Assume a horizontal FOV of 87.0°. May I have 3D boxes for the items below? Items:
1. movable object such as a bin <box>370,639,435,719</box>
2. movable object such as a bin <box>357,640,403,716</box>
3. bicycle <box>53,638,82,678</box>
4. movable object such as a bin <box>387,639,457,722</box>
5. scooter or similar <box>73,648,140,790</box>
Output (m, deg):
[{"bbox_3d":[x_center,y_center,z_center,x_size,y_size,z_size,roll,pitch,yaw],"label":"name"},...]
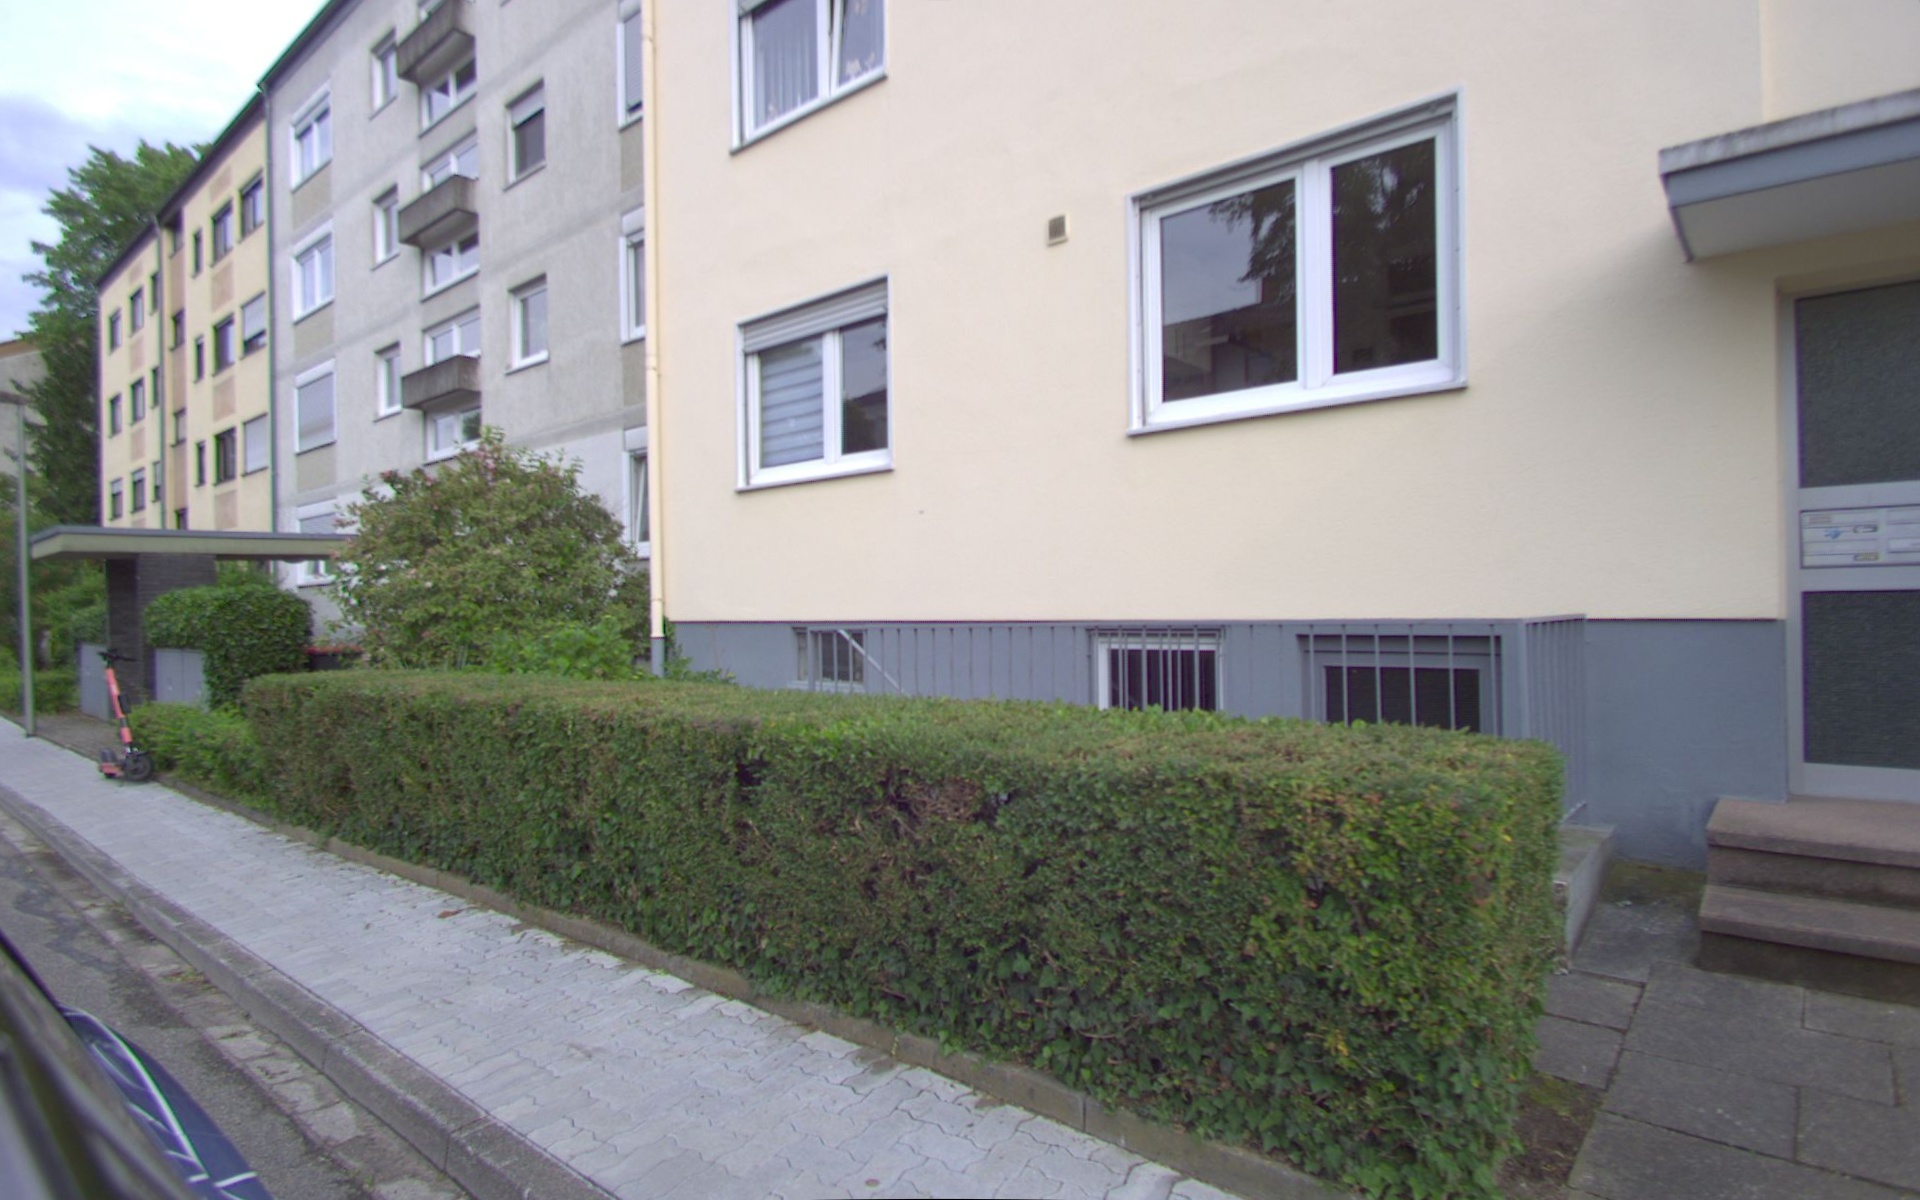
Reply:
[{"bbox_3d":[-7.617,1.059,13.832,0.589,1.042,0.617,-2,-2,40],"label":"movable object such as a bin"},{"bbox_3d":[-8.190,1.089,14.305,0.528,1.027,0.582,-1,-1,-28],"label":"movable object such as a bin"},{"bbox_3d":[-24.188,1.576,27.426,1.689,1.059,0.312,-4,-3,39],"label":"bicycle"},{"bbox_3d":[-7.124,1.044,13.413,0.665,1.042,0.617,-2,-2,40],"label":"movable object such as a bin"},{"bbox_3d":[-7.792,1.051,9.226,1.163,1.220,0.270,-2,-2,40],"label":"scooter or similar"}]
